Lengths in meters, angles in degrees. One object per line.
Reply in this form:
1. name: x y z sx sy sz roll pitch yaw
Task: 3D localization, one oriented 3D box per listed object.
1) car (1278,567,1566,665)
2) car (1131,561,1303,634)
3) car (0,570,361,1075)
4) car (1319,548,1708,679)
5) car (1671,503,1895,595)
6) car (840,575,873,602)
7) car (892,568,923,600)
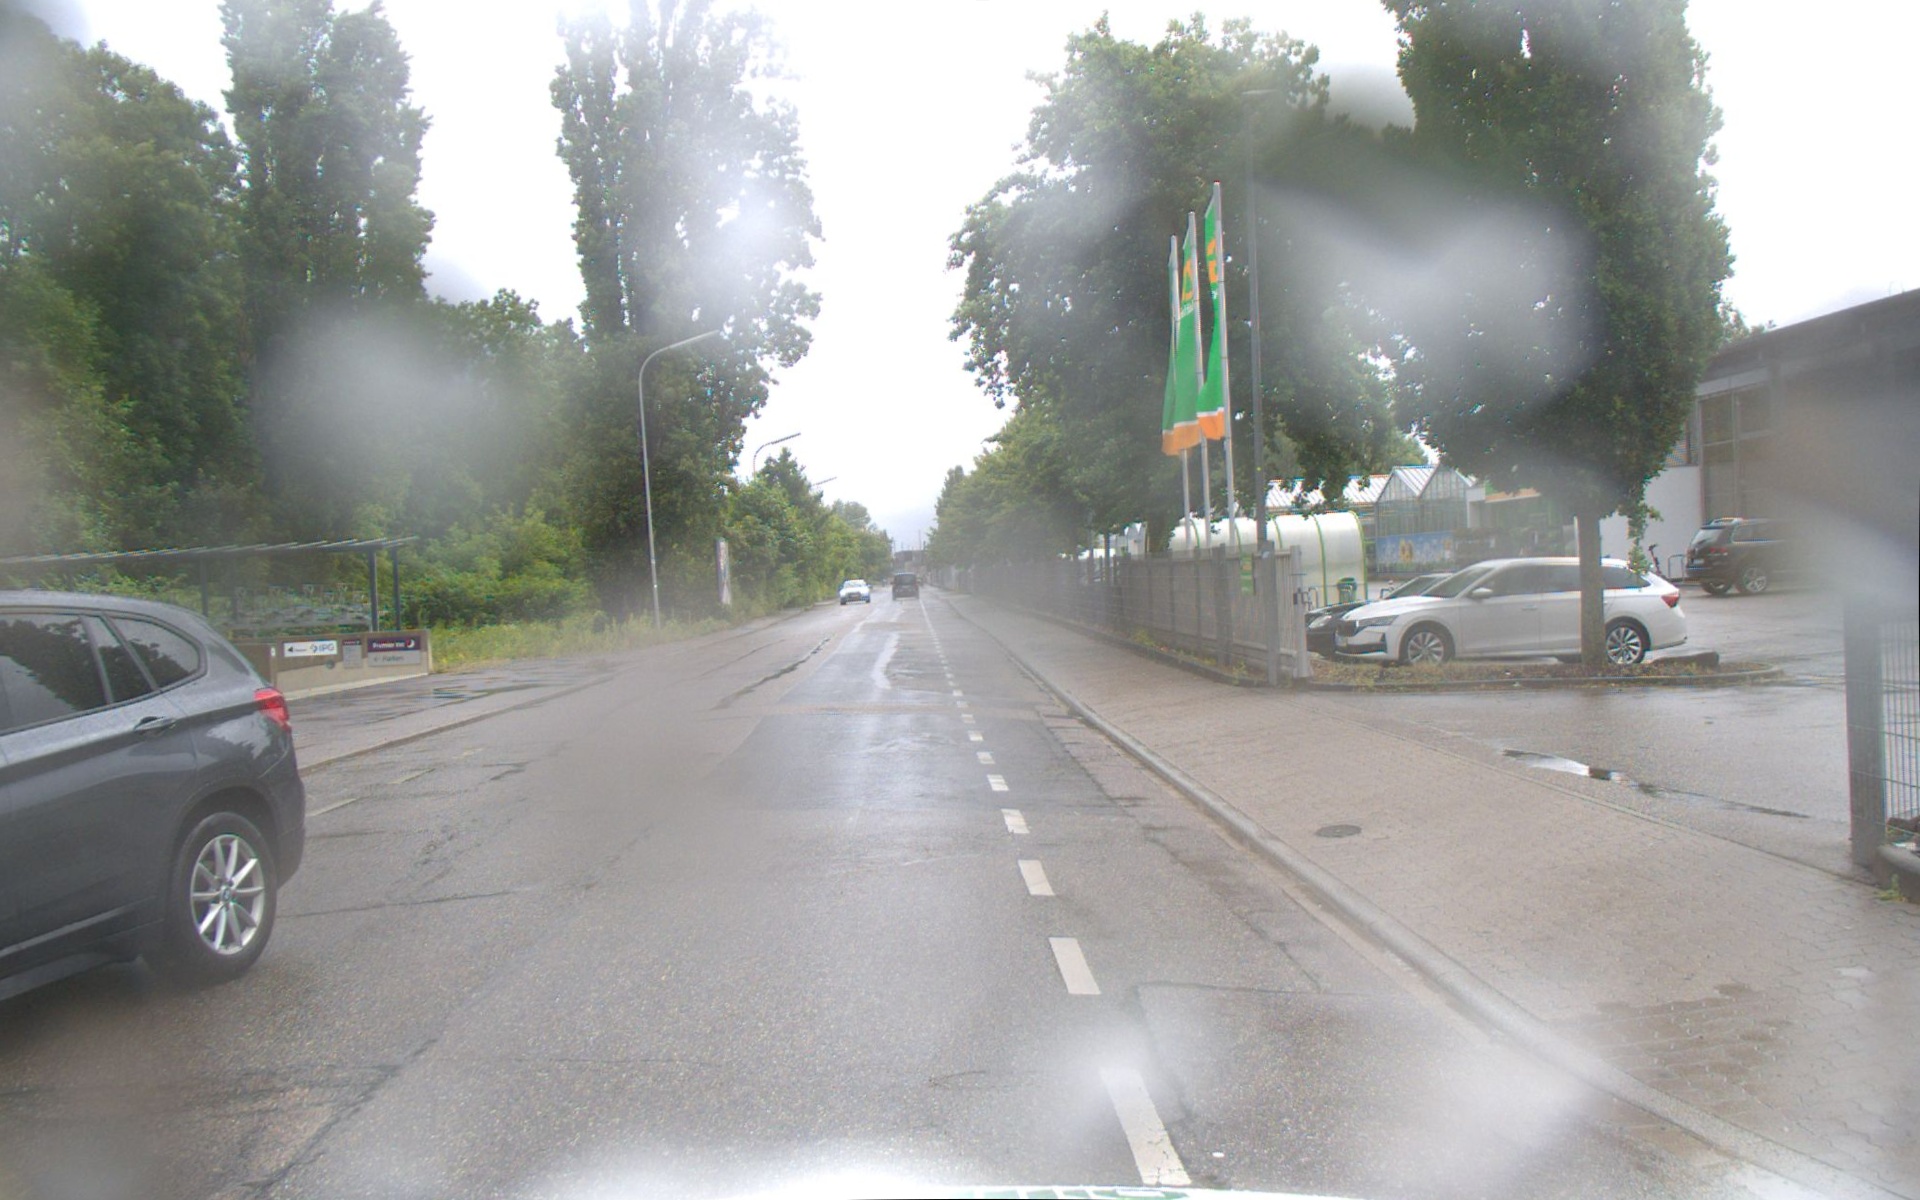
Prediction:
1. car: 6.943 0.224 25.072 3.860 1.278 1.618 -2 0 -3
2. car: 6.698 -0.091 43.400 4.125 1.628 1.823 -3 1 -3
3. car: -3.972 0.797 5.473 1.722 1.595 4.154 -5 1 11
4. car: 7.417 0.158 22.451 4.610 1.488 1.889 -3 1 -3
5. car: 19.665 -1.213 39.666 4.274 1.864 2.063 -4 1 0
6. car: -6.367 -0.708 102.191 1.699 1.475 4.380 -6 1 -1
7. car: -3.557 -1.068 111.759 1.954 1.943 4.199 -4 0 -2
